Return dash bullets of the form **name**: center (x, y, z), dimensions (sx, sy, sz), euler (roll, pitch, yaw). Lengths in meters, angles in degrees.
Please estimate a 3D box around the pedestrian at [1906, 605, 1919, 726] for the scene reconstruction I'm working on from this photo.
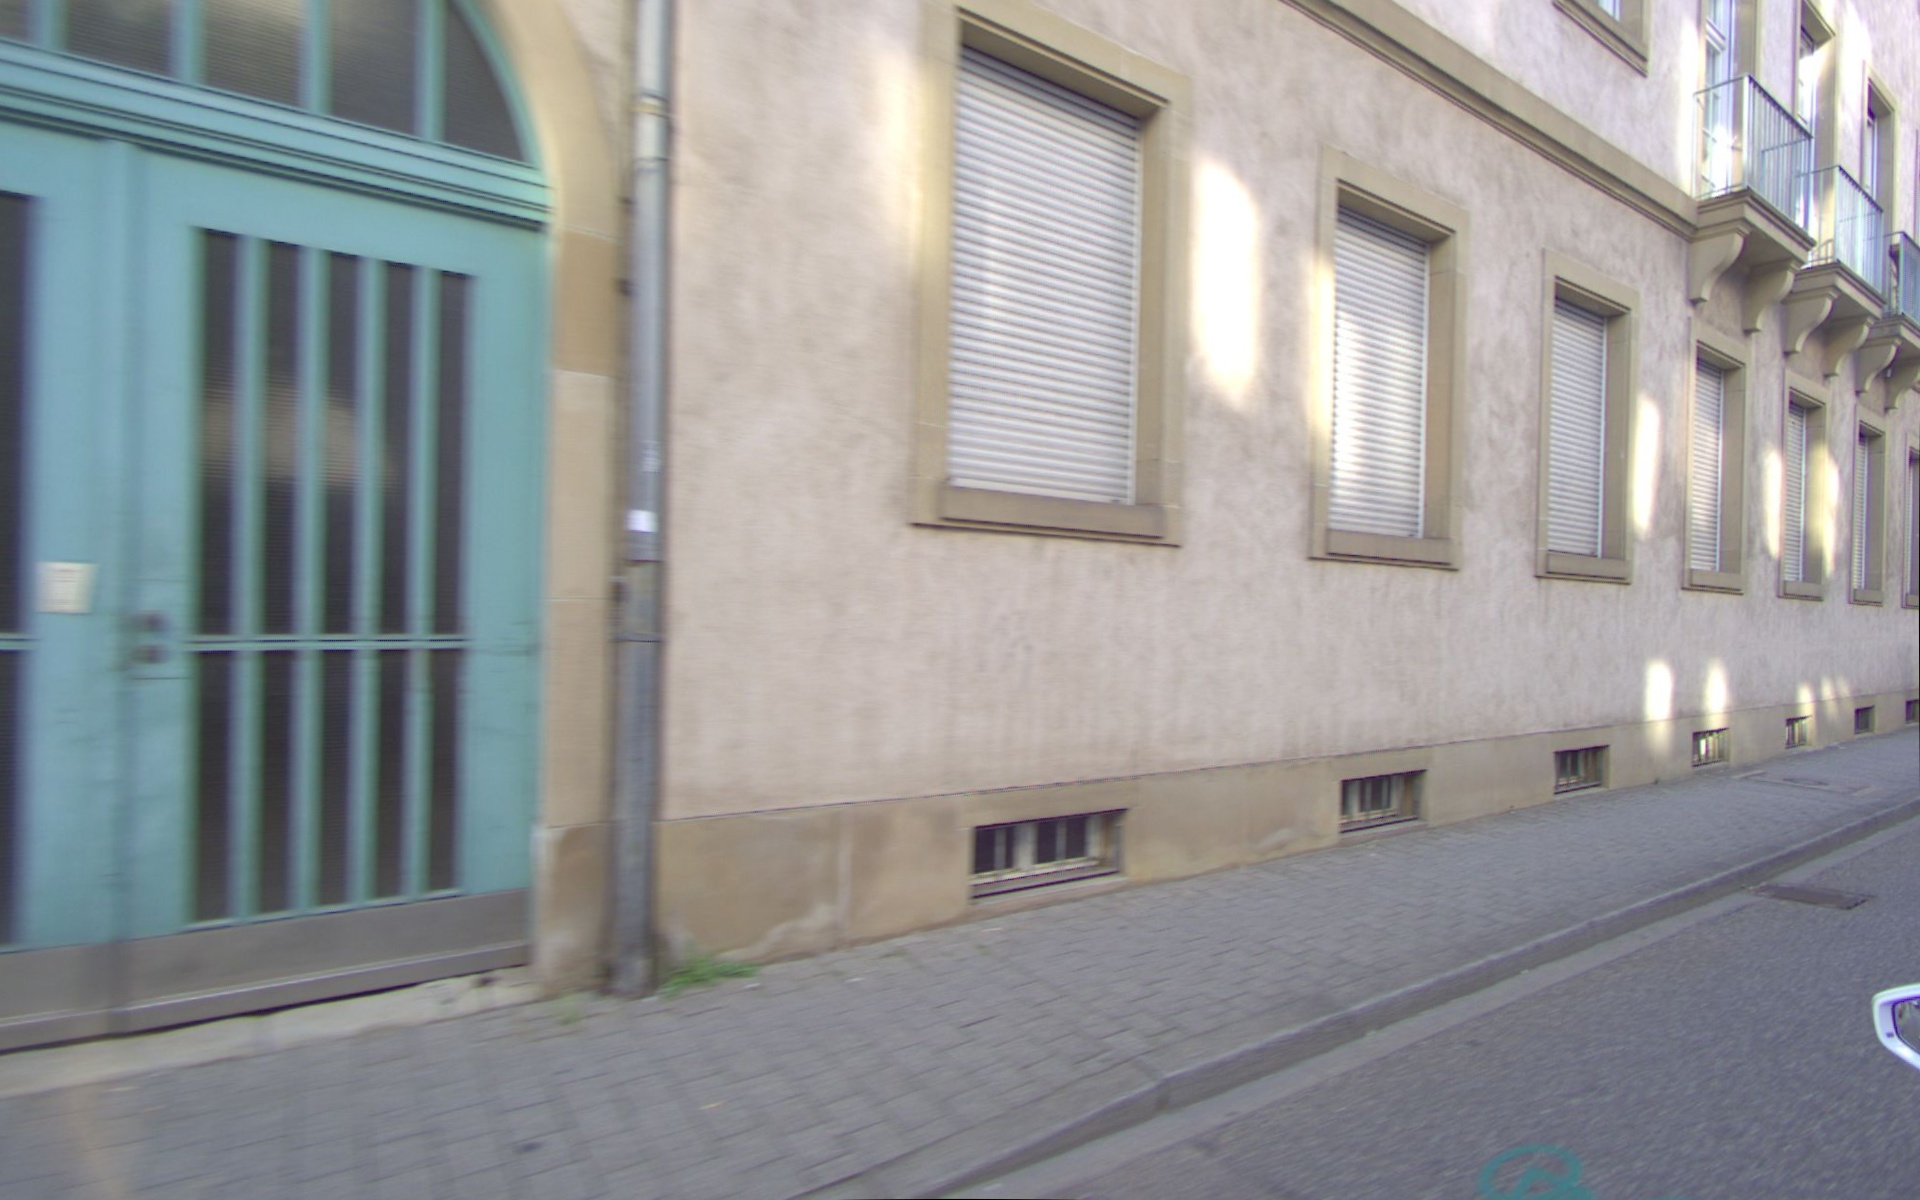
- **pedestrian**: center (13.866, 0.935, 14.060), dimensions (0.867, 1.692, 0.688), euler (2, 2, -37)
